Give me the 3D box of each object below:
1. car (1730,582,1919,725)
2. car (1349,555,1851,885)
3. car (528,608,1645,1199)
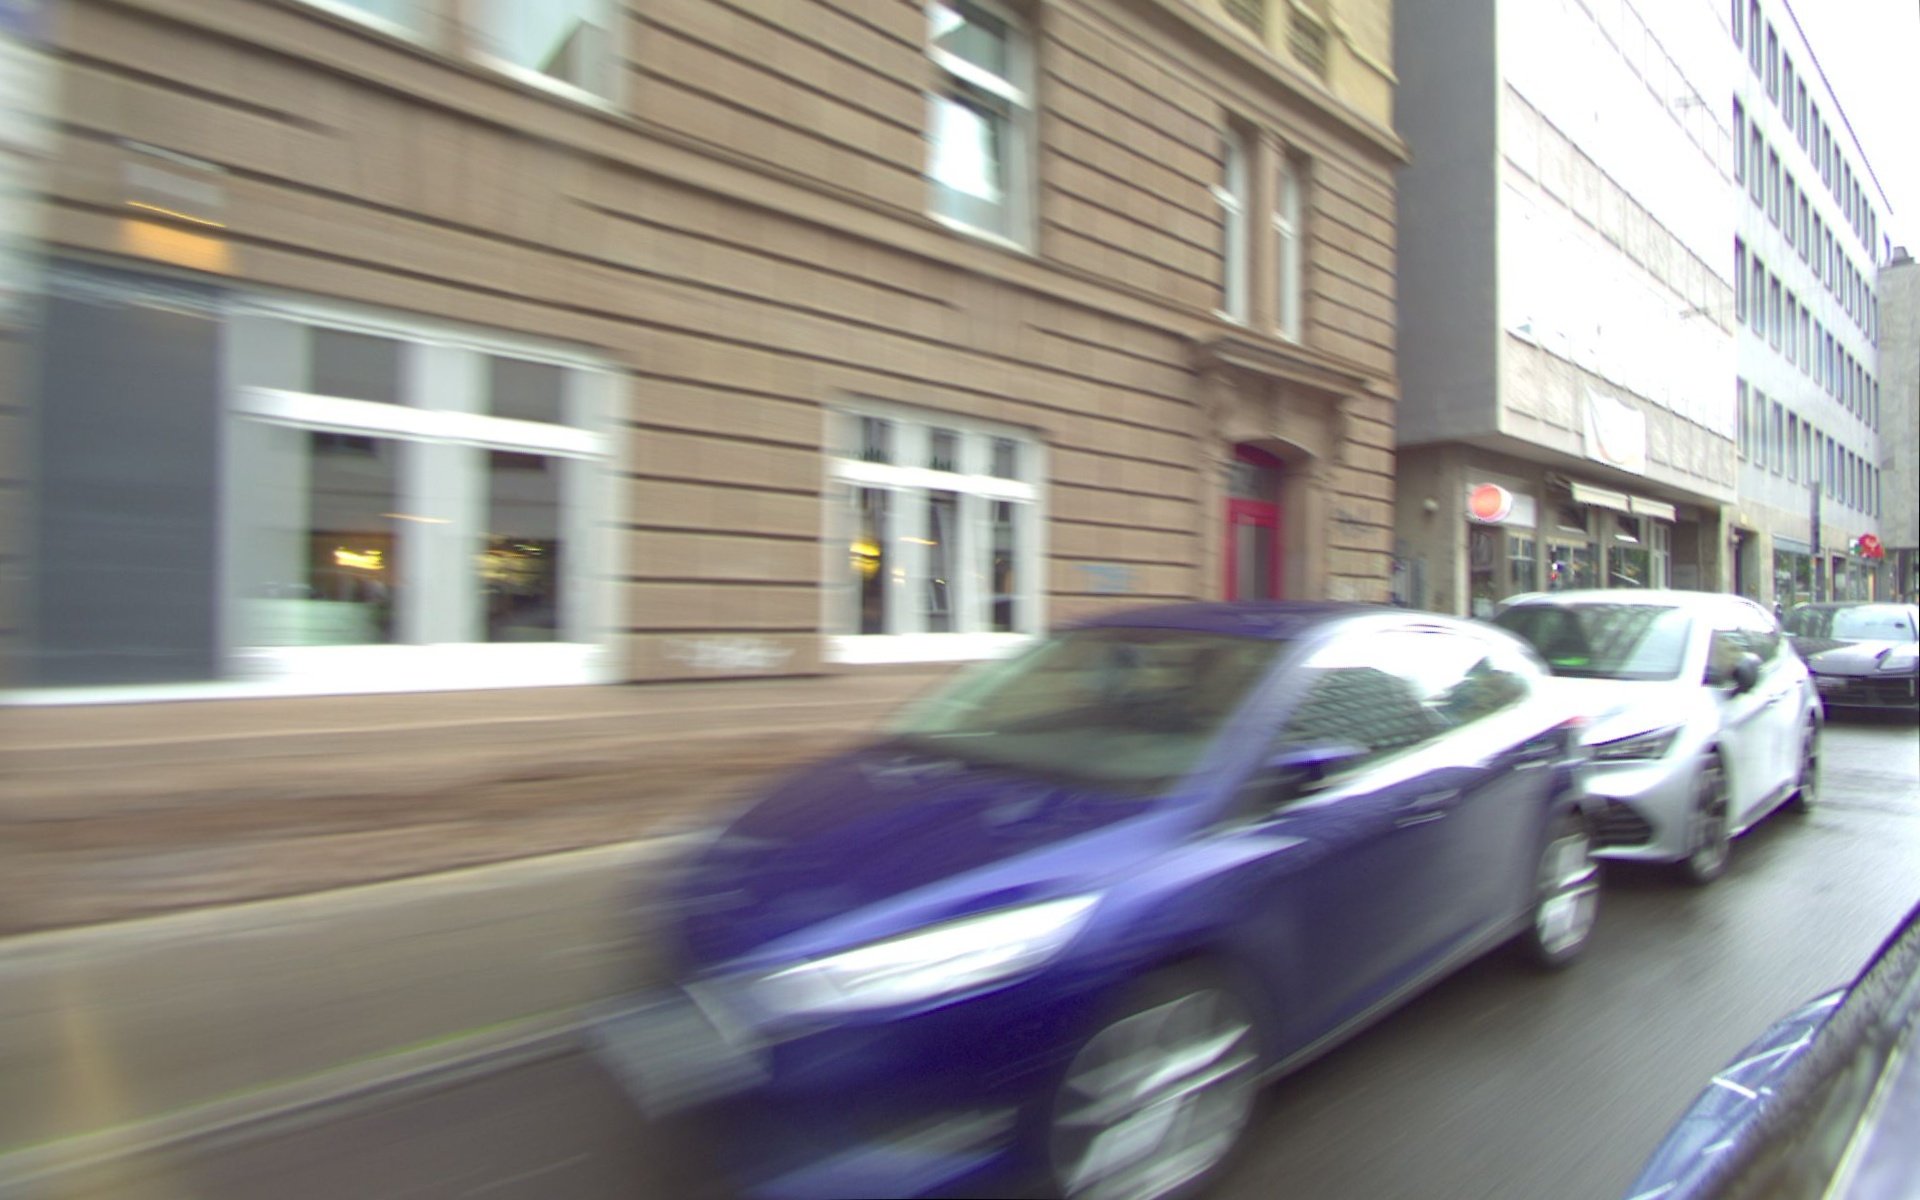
[{"bbox_3d":[12.141,0.581,13.586,4.492,1.614,1.997,-1,1,-41],"label":"car"},{"bbox_3d":[4.504,0.589,6.830,4.279,1.542,1.748,1,-1,-42],"label":"car"},{"bbox_3d":[0.848,0.810,3.741,4.182,1.535,1.723,1,-1,-40],"label":"car"}]
